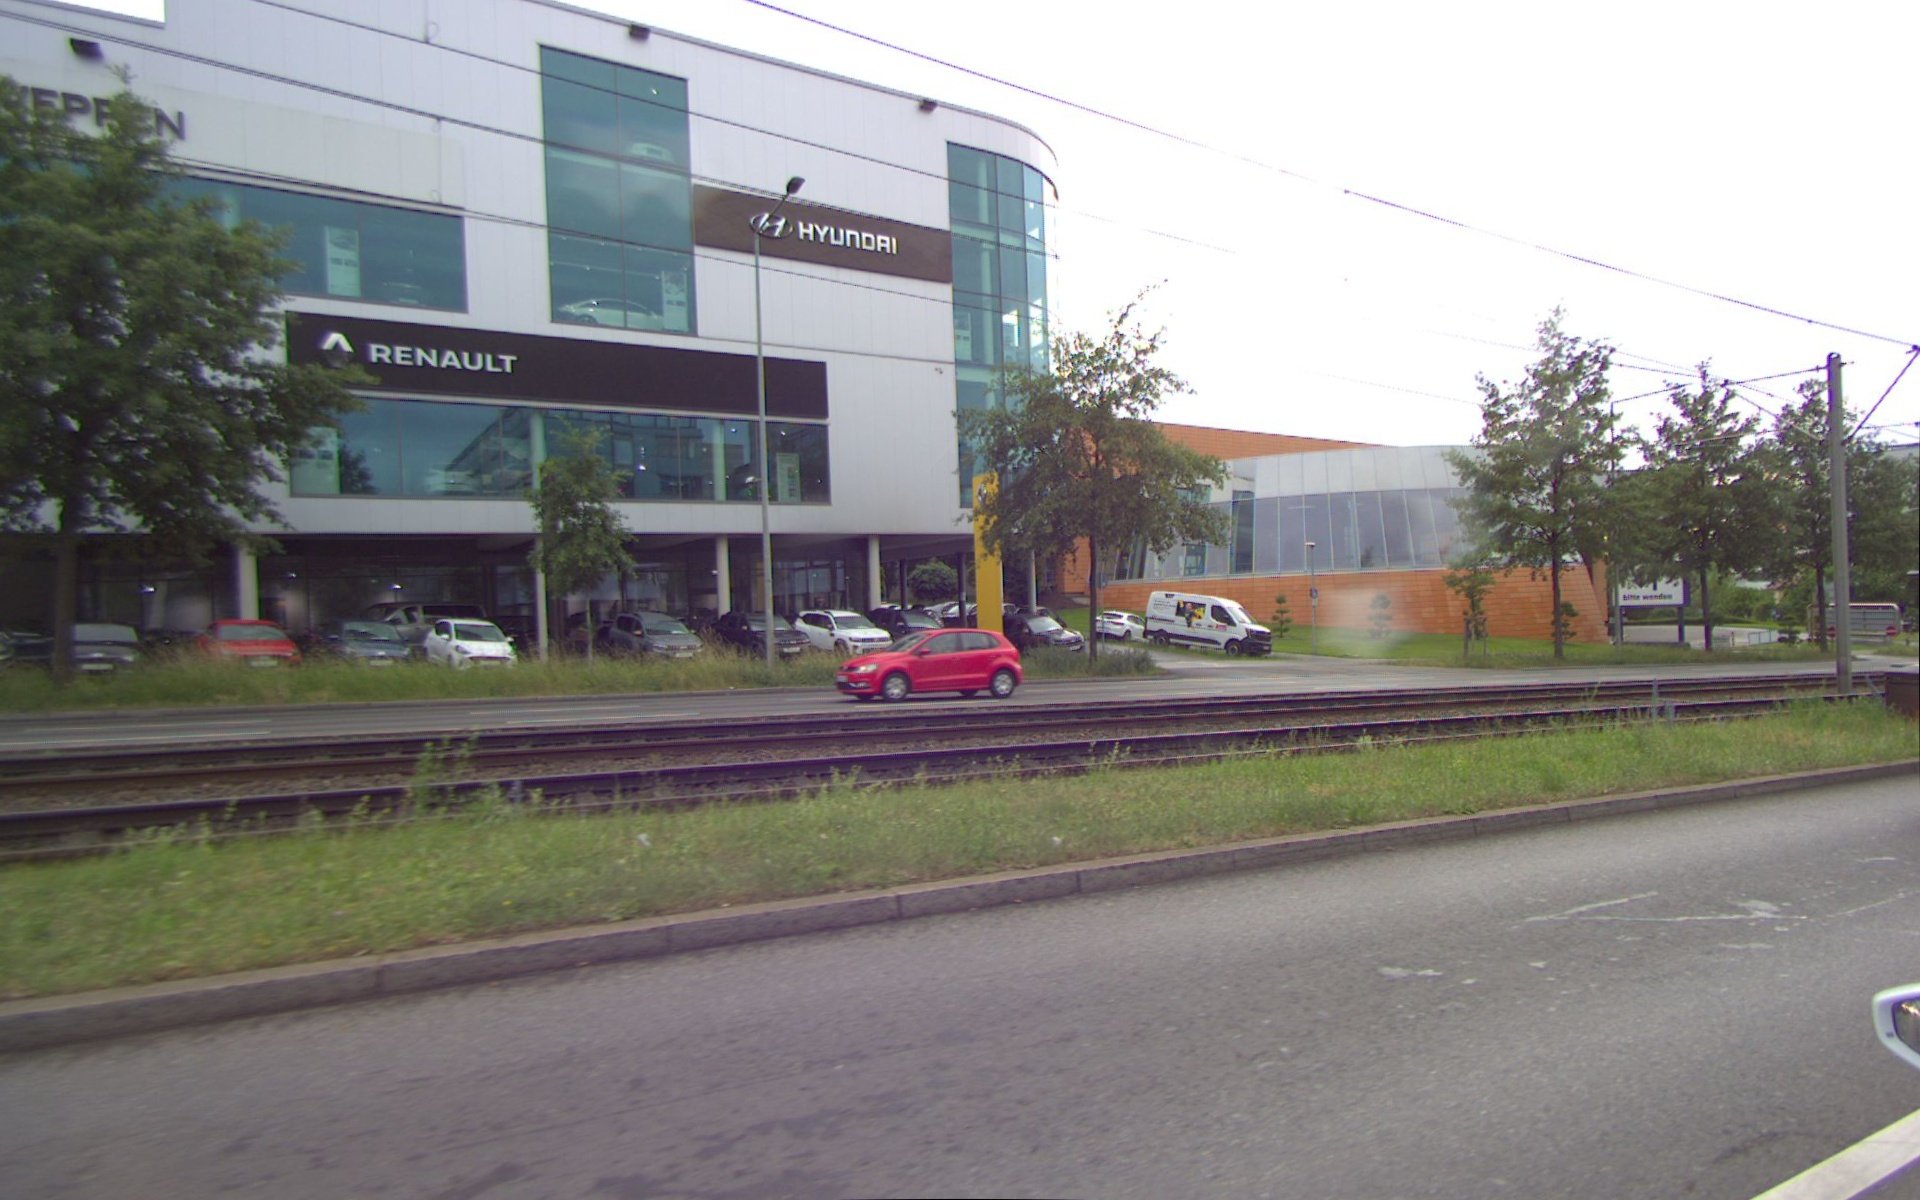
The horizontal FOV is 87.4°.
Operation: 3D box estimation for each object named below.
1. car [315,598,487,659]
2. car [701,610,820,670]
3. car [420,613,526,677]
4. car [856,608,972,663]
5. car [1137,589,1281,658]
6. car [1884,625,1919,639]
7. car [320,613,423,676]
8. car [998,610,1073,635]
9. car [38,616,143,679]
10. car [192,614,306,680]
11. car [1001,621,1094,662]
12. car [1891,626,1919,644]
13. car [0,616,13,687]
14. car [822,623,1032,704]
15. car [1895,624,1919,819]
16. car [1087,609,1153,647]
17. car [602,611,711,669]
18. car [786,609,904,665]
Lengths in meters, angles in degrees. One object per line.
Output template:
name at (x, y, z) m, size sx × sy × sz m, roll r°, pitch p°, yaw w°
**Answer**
car at (-17.858, 0.872, 32.344) m, size 1.962 × 1.806 × 4.543 m, roll 0°, pitch -1°, yaw 25°
car at (-6.474, 1.233, 32.259) m, size 1.982 × 1.571 × 4.327 m, roll 1°, pitch 2°, yaw -38°
car at (-13.892, 1.230, 28.557) m, size 1.905 × 1.479 × 4.001 m, roll 1°, pitch 2°, yaw -38°
car at (-1.694, 1.207, 35.576) m, size 1.982 × 1.637 × 4.327 m, roll 1°, pitch 2°, yaw -38°
car at (10.696, 0.955, 43.424) m, size 2.390 × 2.616 × 5.548 m, roll 1°, pitch 2°, yaw -45°
car at (95.562, 3.210, 100.799) m, size 1.643 × 1.455 × 4.052 m, roll 2°, pitch -3°, yaw -42°
car at (-16.100, 1.157, 27.395) m, size 1.905 × 1.370 × 4.001 m, roll 1°, pitch 2°, yaw -38°
car at (4.003, 1.167, 53.013) m, size 1.971 × 1.297 × 3.979 m, roll 0°, pitch -1°, yaw 41°
car at (-20.803, 1.083, 24.002) m, size 1.688 × 1.197 × 3.479 m, roll 1°, pitch 2°, yaw -44°
car at (-18.238, 1.132, 25.700) m, size 1.788 × 1.370 × 3.882 m, roll 1°, pitch 2°, yaw -44°
car at (3.212, 1.507, 37.461) m, size 1.564 × 1.409 × 3.622 m, roll 0°, pitch 0°, yaw -34°
car at (78.373, 2.889, 81.972) m, size 1.407 × 1.405 × 3.373 m, roll 0°, pitch 0°, yaw -11°
car at (-22.757, 1.148, 22.873) m, size 1.688 × 1.370 × 3.479 m, roll 1°, pitch 2°, yaw -44°
car at (-0.650, 1.263, 20.612) m, size 4.052 × 1.533 × 1.578 m, roll 1°, pitch -3°, yaw -29°
car at (9.648, 0.966, 8.100) m, size 4.457 × 1.486 × 1.773 m, roll 1°, pitch 0°, yaw -29°
car at (7.594, 1.281, 47.414) m, size 1.701 × 1.688 × 3.739 m, roll 1°, pitch 0°, yaw 33°
car at (-9.428, 1.184, 31.039) m, size 1.915 × 1.479 × 3.977 m, roll 1°, pitch 2°, yaw -38°
car at (-3.954, 1.203, 34.024) m, size 1.982 × 1.571 × 4.327 m, roll 1°, pitch 2°, yaw -38°
